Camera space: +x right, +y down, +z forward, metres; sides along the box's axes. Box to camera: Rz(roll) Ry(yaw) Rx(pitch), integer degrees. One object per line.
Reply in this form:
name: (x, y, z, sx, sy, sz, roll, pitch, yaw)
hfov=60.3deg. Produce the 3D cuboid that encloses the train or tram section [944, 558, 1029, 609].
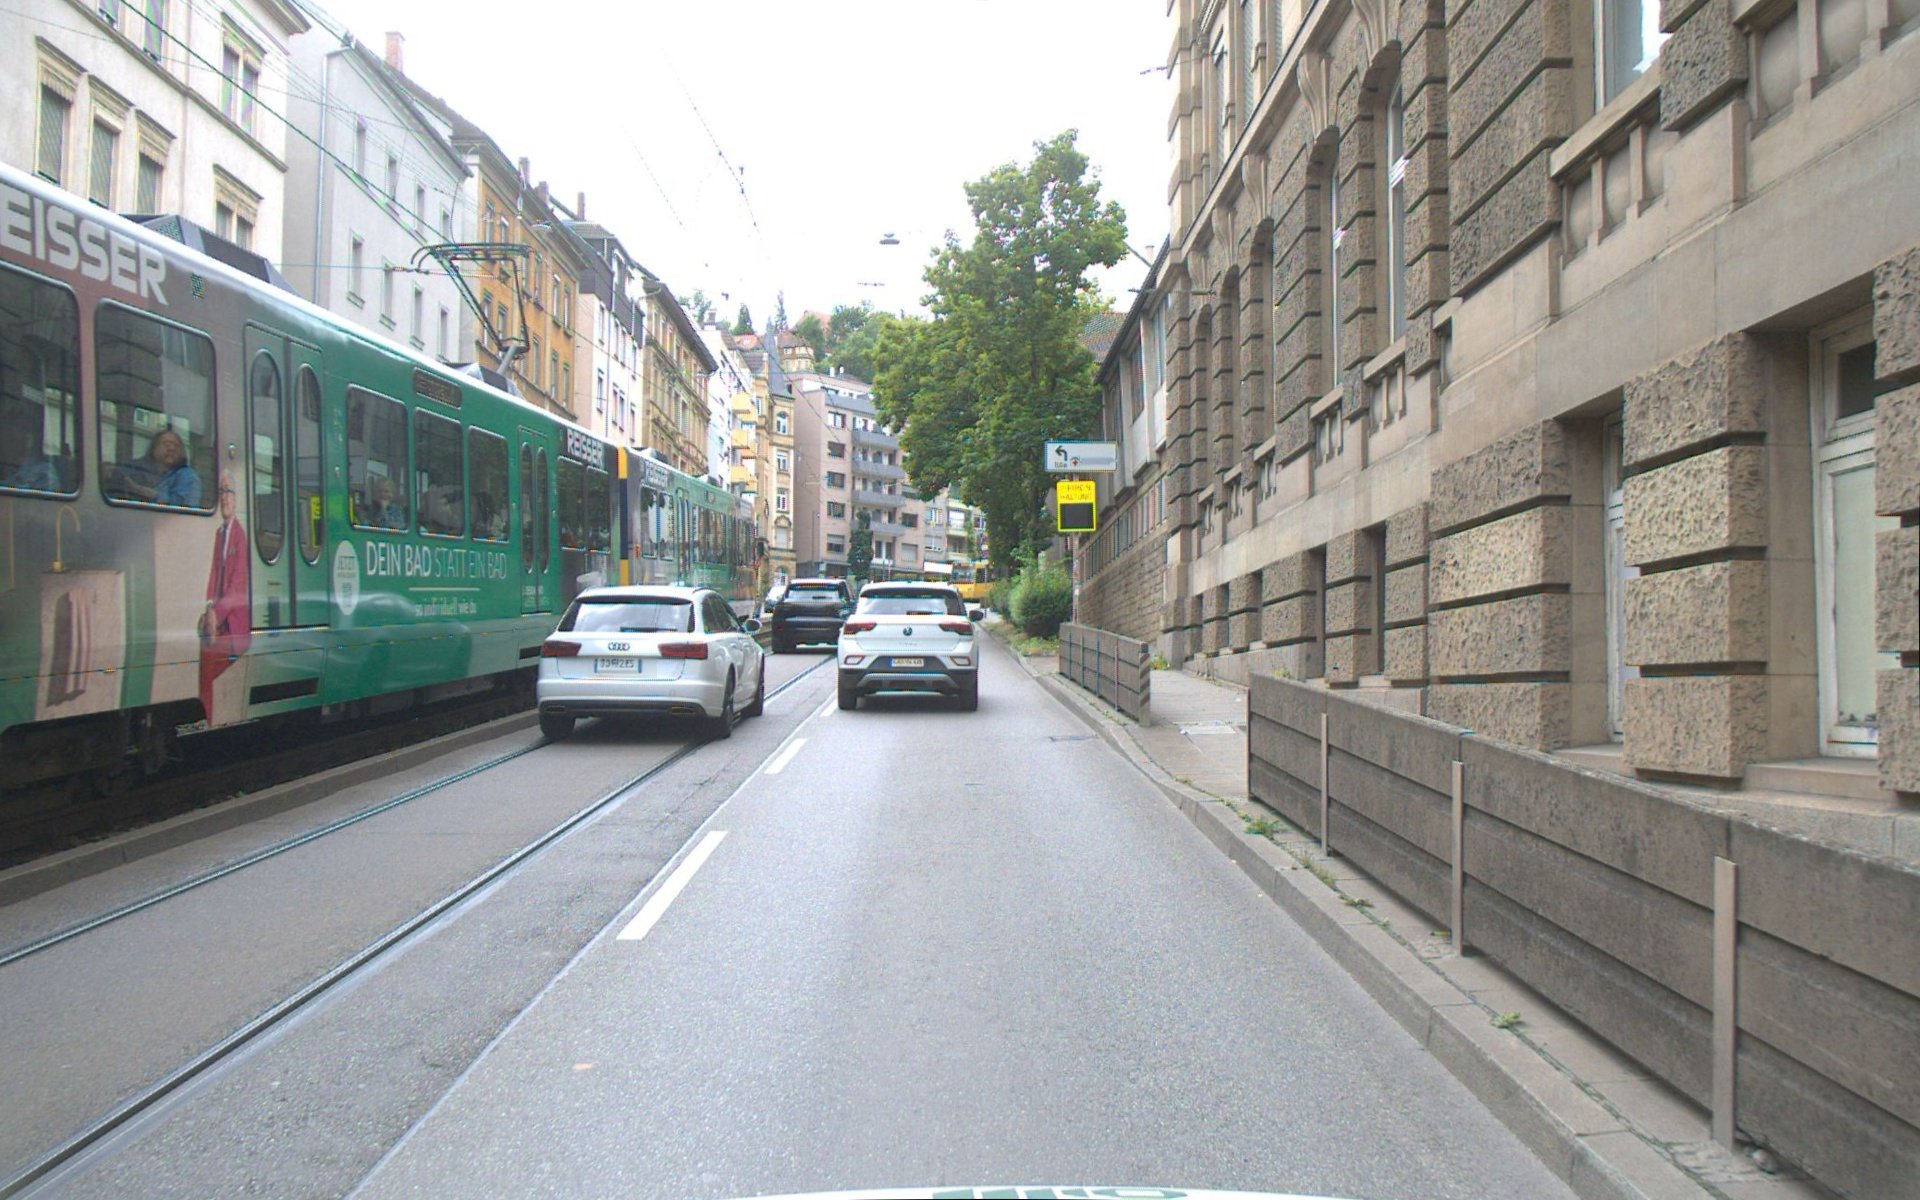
train or tram section: (2.621, -1.439, 149.880, 2.953, 4.287, 18.872, 1, 1, 16)

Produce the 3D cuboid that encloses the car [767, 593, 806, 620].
car: (-9.912, 0.369, 94.950, 1.806, 1.480, 4.660, 1, 0, -1)

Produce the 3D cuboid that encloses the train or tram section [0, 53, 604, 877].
train or tram section: (-5.904, -0.688, 11.810, 2.818, 3.790, 18.754, 2, 0, -1)

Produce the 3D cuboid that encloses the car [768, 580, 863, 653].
car: (-3.281, 0.335, 38.357, 1.997, 1.599, 4.356, 0, 1, -3)

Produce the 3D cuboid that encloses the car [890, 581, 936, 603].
car: (-4.507, -0.768, 160.267, 1.961, 2.071, 4.682, 1, 0, 37)

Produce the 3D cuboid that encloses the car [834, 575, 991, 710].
car: (-0.614, 0.478, 21.559, 1.841, 1.582, 3.999, 0, 1, -2)

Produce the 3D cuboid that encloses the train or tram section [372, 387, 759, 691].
train or tram section: (-6.191, -0.866, 30.599, 2.818, 3.790, 18.754, 2, 0, -1)

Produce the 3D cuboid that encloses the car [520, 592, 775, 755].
car: (-3.088, 0.669, 17.294, 1.840, 1.480, 4.616, 0, 0, -1)
